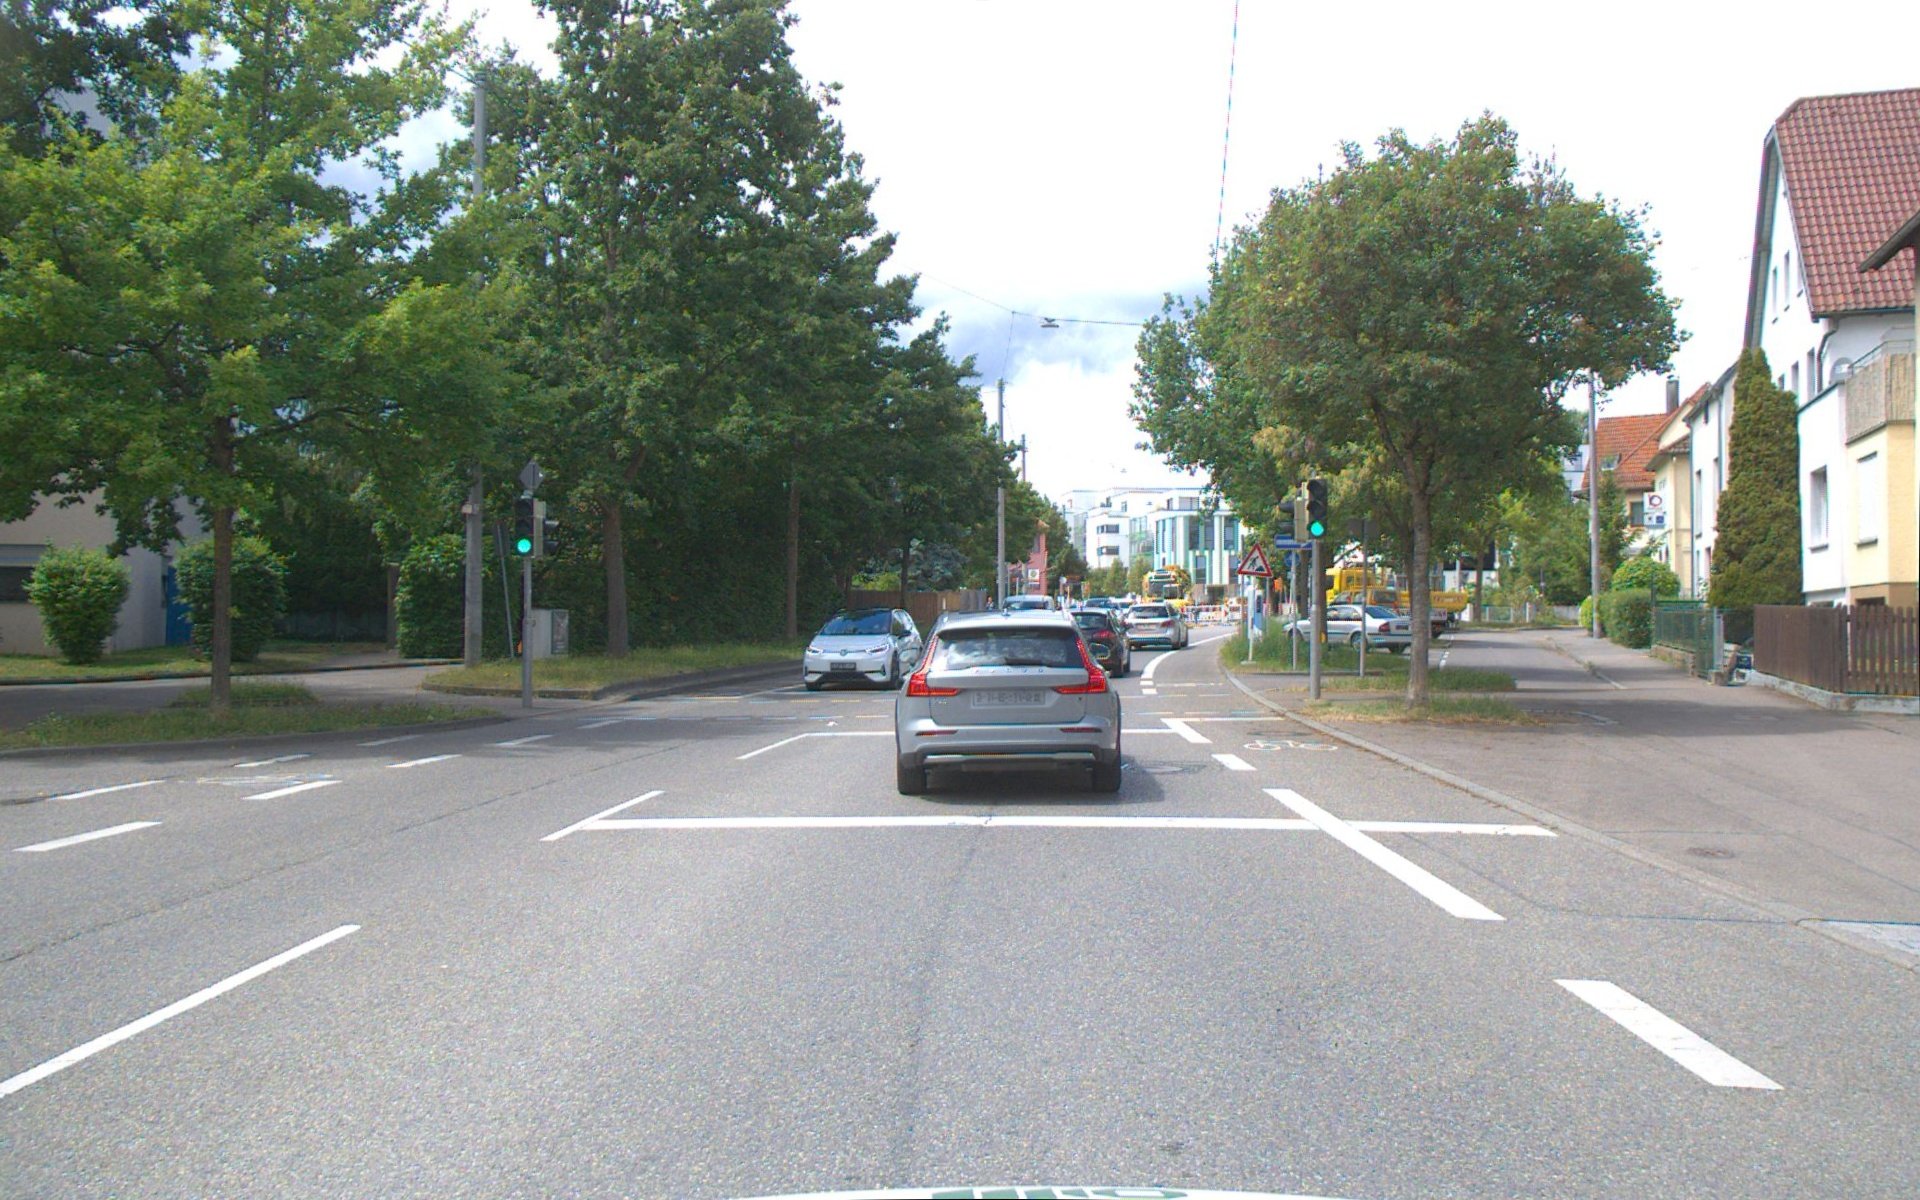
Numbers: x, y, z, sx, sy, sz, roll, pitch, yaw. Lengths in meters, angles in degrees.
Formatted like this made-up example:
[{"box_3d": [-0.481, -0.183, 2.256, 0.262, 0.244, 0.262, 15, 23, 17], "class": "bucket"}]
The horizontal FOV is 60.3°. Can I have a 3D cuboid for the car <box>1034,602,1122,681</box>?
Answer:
[{"box_3d": [2.493, 0.882, 35.749, 1.627, 1.534, 3.702, 3, -1, 1], "class": "car"}]

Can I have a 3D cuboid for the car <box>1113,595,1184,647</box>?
[{"box_3d": [6.100, 0.696, 53.071, 2.057, 1.536, 4.003, 2, -1, 9], "class": "car"}]

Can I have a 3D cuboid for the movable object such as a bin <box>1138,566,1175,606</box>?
[{"box_3d": [15.338, -1.089, 129.372, 2.262, 3.042, 6.428, -1, 0, 2], "class": "movable object such as a bin"}]

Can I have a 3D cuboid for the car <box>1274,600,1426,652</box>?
[{"box_3d": [11.951, 0.781, 50.970, 1.746, 1.477, 4.635, 1, 0, -33], "class": "car"}]

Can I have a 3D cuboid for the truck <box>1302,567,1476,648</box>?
[{"box_3d": [17.391, 0.269, 67.445, 2.739, 3.061, 6.623, 3, -1, -35], "class": "truck"}]

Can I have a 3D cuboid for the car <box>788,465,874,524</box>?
[{"box_3d": [-3.915, -3.216, 50.960, 1.790, 1.353, 4.002, 2, -2, 8], "class": "car"}]

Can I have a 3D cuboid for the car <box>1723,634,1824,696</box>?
[{"box_3d": [16.661, 1.313, 33.988, 1.432, 1.144, 3.872, 2, -1, 20], "class": "car"}]

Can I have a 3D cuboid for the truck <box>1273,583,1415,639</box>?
[{"box_3d": [15.204, 0.407, 65.771, 1.977, 2.049, 5.607, 3, -1, -35], "class": "truck"}]

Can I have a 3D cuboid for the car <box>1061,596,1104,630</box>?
[{"box_3d": [6.569, 0.675, 88.265, 1.840, 1.717, 4.250, -2, -1, 10], "class": "car"}]

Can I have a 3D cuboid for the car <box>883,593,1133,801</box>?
[{"box_3d": [0.459, 0.755, 14.512, 1.887, 1.567, 4.001, 0, -1, 3], "class": "car"}]

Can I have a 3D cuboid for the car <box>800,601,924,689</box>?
[{"box_3d": [-1.882, 0.873, 32.907, 1.859, 1.607, 4.002, -1, -1, 5], "class": "car"}]

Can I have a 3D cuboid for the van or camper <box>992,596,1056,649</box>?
[{"box_3d": [2.308, 0.777, 58.431, 1.821, 1.807, 4.384, 0, 0, 8], "class": "van or camper"}]

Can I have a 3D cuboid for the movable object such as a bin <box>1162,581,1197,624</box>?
[{"box_3d": [14.060, 0.147, 105.846, 1.991, 2.689, 5.945, -1, 0, 9], "class": "movable object such as a bin"}]
